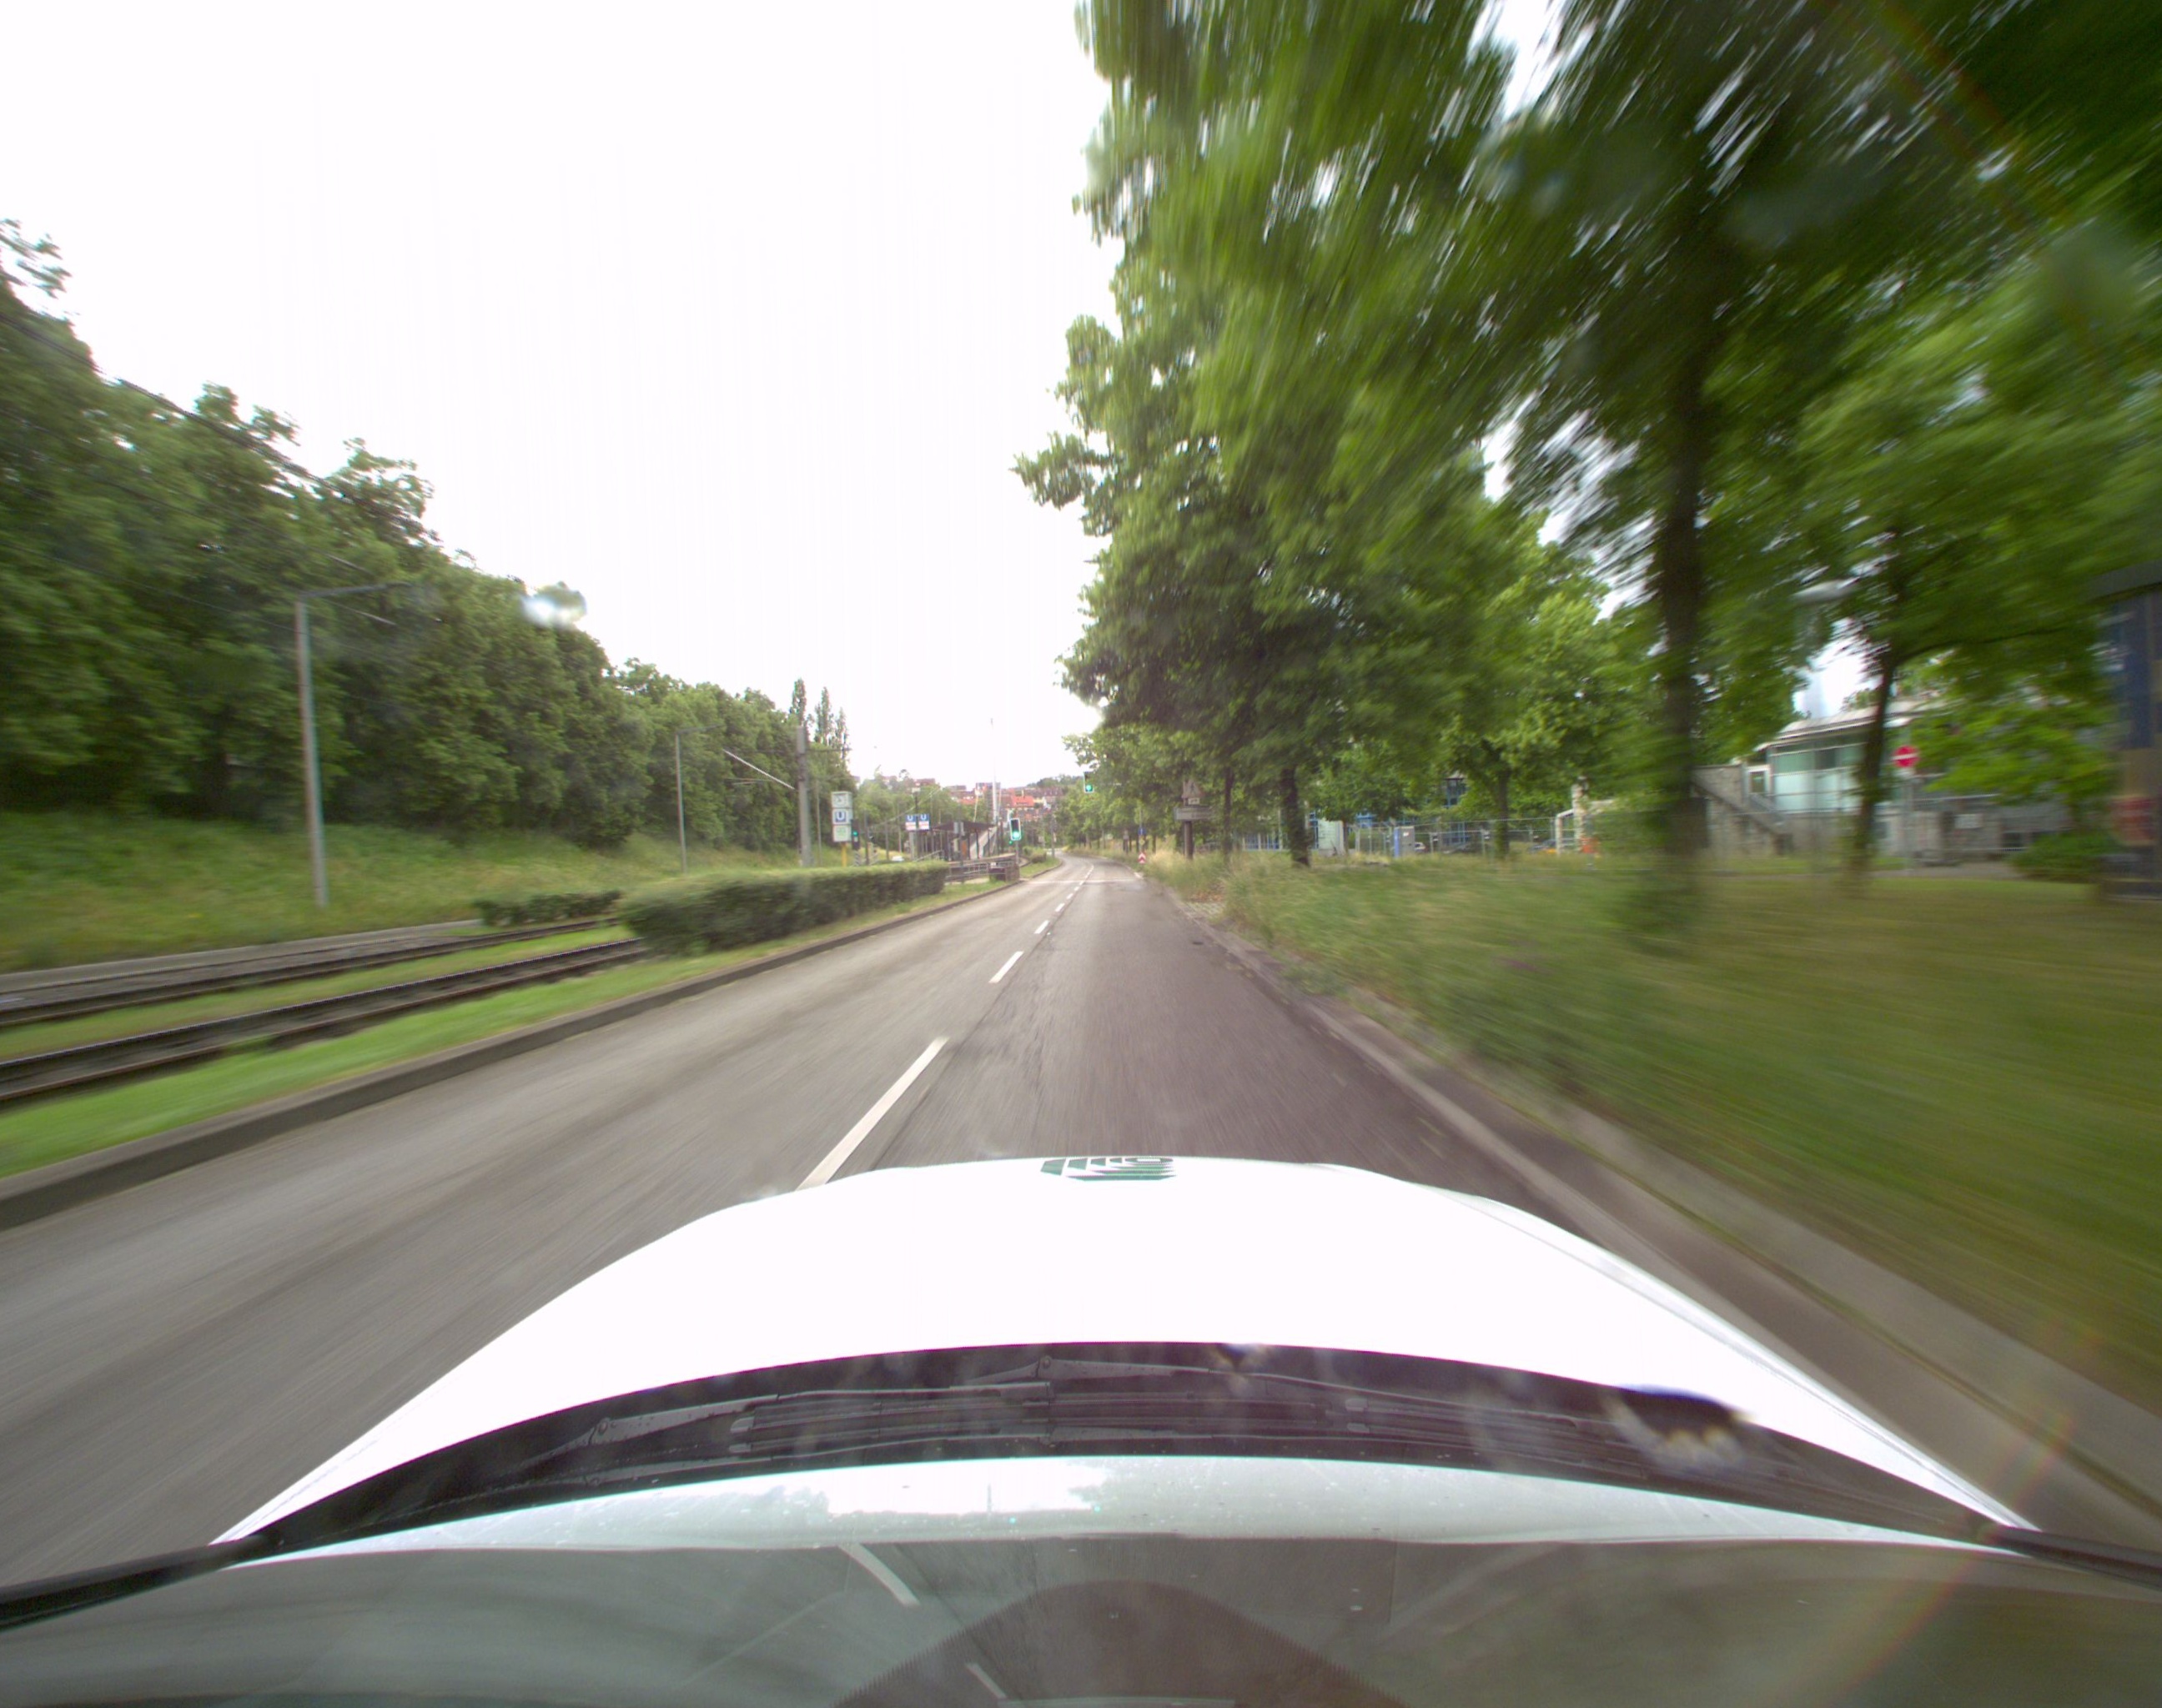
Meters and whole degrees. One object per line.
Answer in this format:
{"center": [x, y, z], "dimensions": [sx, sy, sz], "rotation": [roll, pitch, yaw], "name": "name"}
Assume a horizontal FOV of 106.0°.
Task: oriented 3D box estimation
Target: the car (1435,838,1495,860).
{"center": [31.520, -0.426, 66.906], "dimensions": [4.076, 1.578, 1.761], "rotation": [-2, 2, 6], "name": "car"}

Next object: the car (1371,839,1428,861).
{"center": [26.289, -0.321, 67.256], "dimensions": [4.076, 1.641, 1.761], "rotation": [-2, 2, 6], "name": "car"}

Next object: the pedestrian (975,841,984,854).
{"center": [-12.278, -0.808, 98.881], "dimensions": [0.933, 1.611, 1.026], "rotation": [-2, 0, -2], "name": "pedestrian"}

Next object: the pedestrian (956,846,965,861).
{"center": [-11.589, -0.036, 78.117], "dimensions": [0.751, 1.355, 0.691], "rotation": [-2, 0, -2], "name": "pedestrian"}
